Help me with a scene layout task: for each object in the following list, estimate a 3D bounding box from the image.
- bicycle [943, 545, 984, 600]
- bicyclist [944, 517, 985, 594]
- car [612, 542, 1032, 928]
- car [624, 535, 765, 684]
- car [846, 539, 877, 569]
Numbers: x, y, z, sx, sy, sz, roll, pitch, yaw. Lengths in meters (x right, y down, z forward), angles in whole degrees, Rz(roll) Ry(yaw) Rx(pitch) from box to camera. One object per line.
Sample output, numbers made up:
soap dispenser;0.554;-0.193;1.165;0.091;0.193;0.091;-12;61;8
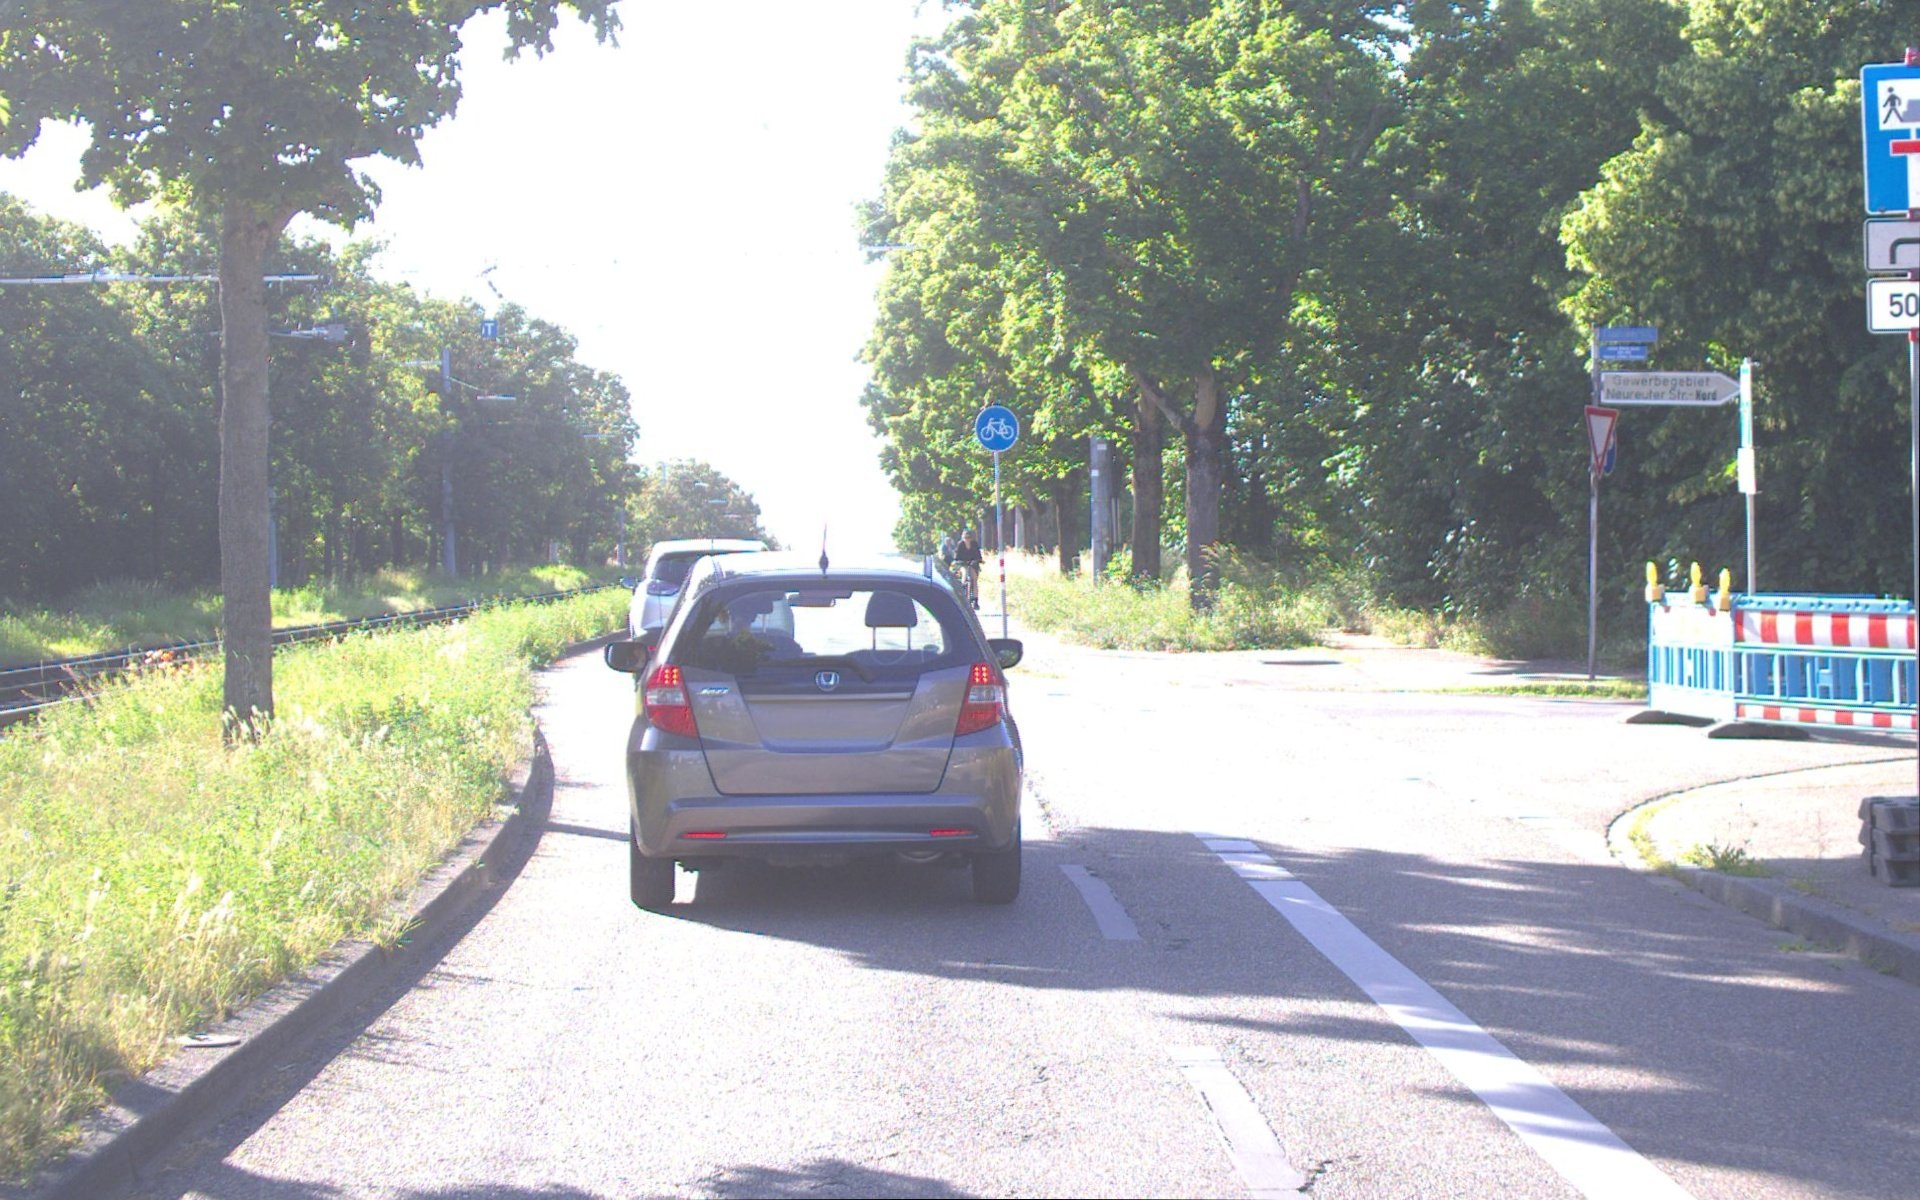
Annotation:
bicycle;0.076;-0.553;69.279;0.818;1.044;2.506;0;-1;0
bicyclist;0.086;-0.890;69.303;0.818;1.519;0.966;0;-1;0
car;-0.682;0.519;15.751;1.670;1.510;3.674;1;1;-4
car;-2.906;0.102;37.253;1.351;1.522;3.124;-1;0;-7
car;-7.211;-3.364;251.682;1.993;2.007;4.000;-4;0;0
